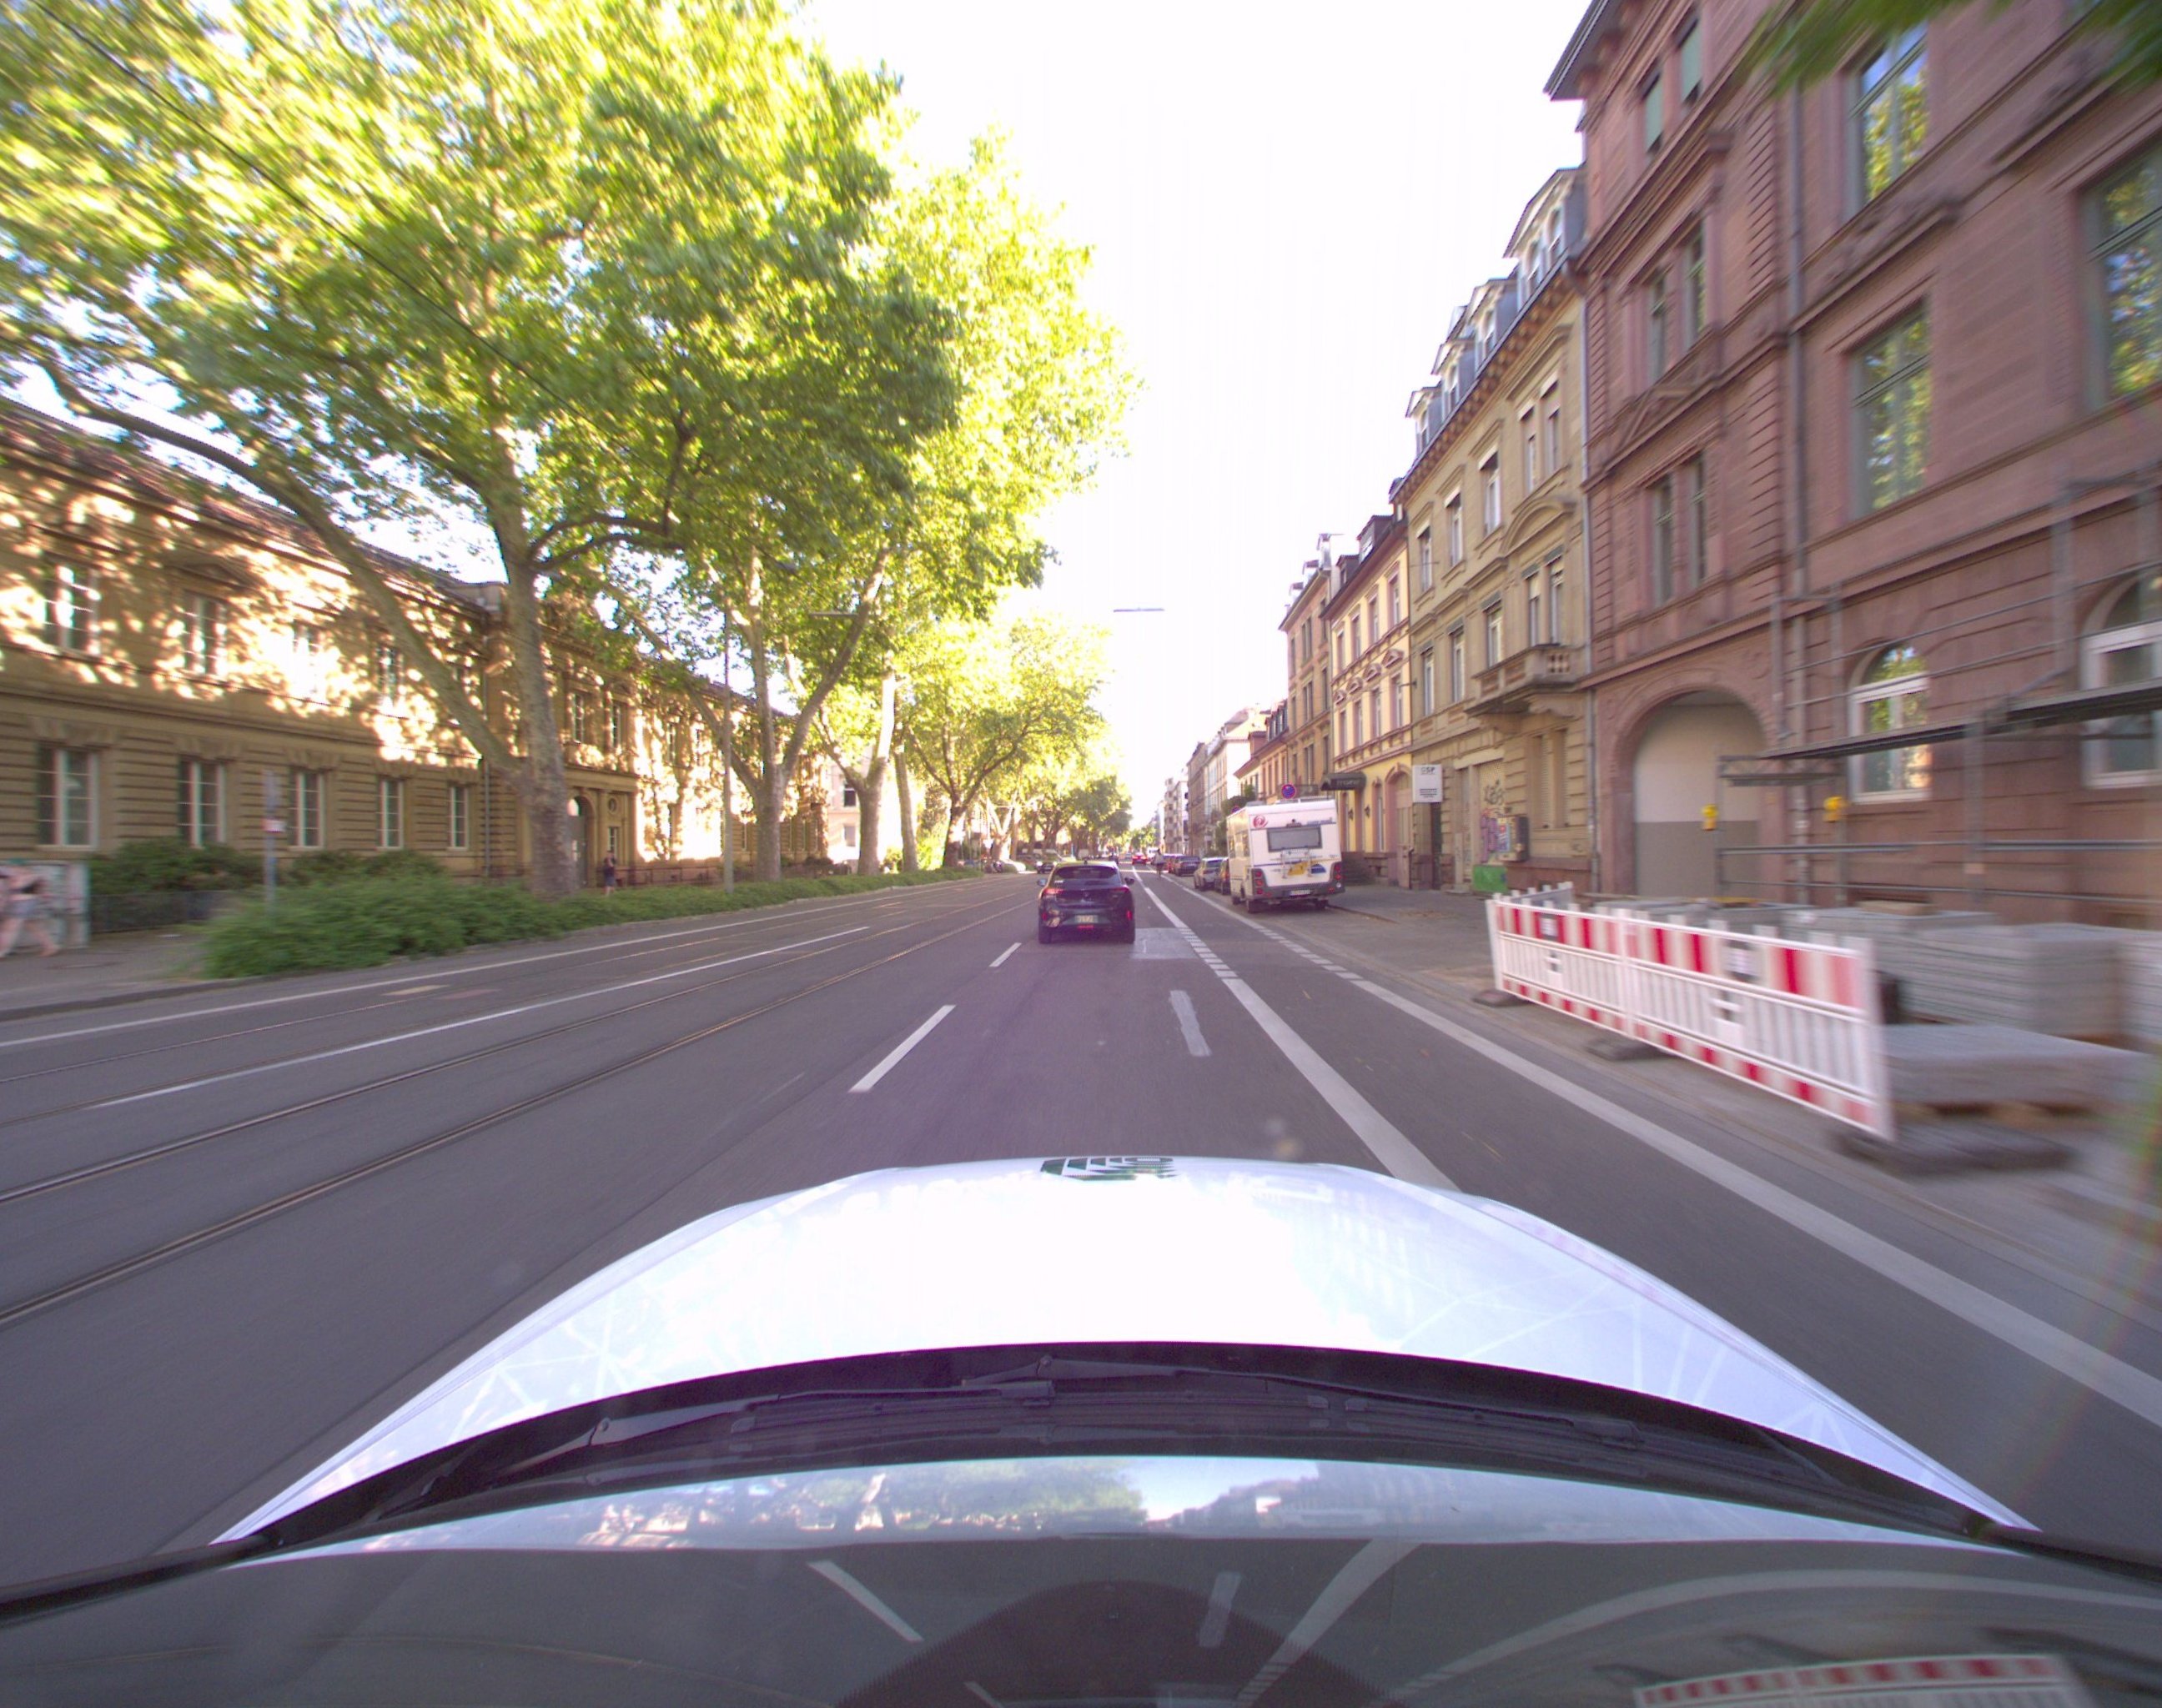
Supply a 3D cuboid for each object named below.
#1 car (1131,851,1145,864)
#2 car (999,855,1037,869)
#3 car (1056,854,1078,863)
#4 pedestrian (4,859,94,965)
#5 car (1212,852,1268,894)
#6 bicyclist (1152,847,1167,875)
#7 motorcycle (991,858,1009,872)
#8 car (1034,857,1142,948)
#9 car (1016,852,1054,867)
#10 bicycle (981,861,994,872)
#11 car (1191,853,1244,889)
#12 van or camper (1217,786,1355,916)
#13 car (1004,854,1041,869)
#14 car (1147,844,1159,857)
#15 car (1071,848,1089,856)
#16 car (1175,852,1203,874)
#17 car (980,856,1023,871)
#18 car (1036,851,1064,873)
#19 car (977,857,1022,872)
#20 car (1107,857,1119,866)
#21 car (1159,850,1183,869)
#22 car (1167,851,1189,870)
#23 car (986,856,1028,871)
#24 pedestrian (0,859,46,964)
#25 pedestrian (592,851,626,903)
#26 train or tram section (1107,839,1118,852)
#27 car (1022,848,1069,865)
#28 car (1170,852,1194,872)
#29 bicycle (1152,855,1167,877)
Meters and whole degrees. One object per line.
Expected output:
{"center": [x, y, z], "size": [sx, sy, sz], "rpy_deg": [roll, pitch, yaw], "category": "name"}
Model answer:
{"center": [7.946, 0.456, 112.935], "size": [1.801, 1.742, 3.938], "rpy_deg": [-1, 0, 5], "category": "car"}
{"center": [-6.944, 0.893, 90.132], "size": [3.903, 1.442, 1.750], "rpy_deg": [0, 0, 3], "category": "car"}
{"center": [-2.619, 0.846, 150.152], "size": [3.906, 1.498, 1.677], "rpy_deg": [0, 0, 0], "category": "car"}
{"center": [-17.142, 0.942, 13.540], "size": [0.632, 1.697, 0.655], "rpy_deg": [-1, 0, -4], "category": "pedestrian"}
{"center": [6.216, 0.696, 32.204], "size": [1.637, 1.434, 4.034], "rpy_deg": [-4, 0, 5], "category": "car"}
{"center": [4.993, 0.453, 51.939], "size": [0.844, 1.740, 1.162], "rpy_deg": [-1, 0, 2], "category": "bicyclist"}
{"center": [-6.982, 0.976, 70.469], "size": [0.878, 1.147, 2.398], "rpy_deg": [-1, 0, 11], "category": "motorcycle"}
{"center": [0.219, 0.812, 15.323], "size": [1.786, 1.441, 3.534], "rpy_deg": [-1, 1, 3], "category": "car"}
{"center": [-5.859, 0.705, 104.199], "size": [4.653, 1.924, 1.982], "rpy_deg": [0, 0, 4], "category": "car"}
{"center": [-8.099, 1.094, 70.405], "size": [0.537, 0.940, 2.040], "rpy_deg": [-1, 0, 11], "category": "bicycle"}
{"center": [6.133, 0.732, 37.064], "size": [1.802, 1.435, 4.669], "rpy_deg": [-2, 0, 3], "category": "car"}
{"center": [5.629, -0.072, 23.737], "size": [2.466, 2.972, 7.894], "rpy_deg": [-4, 0, 5], "category": "van or camper"}
{"center": [-6.583, 0.826, 92.391], "size": [3.978, 1.627, 1.881], "rpy_deg": [0, 0, 3], "category": "car"}
{"center": [12.935, -0.611, 146.260], "size": [2.066, 2.219, 4.940], "rpy_deg": [-4, 0, 5], "category": "car"}
{"center": [-0.150, -0.509, 180.609], "size": [3.906, 1.790, 1.677], "rpy_deg": [0, 0, 0], "category": "car"}
{"center": [7.447, 0.612, 56.352], "size": [1.686, 1.392, 4.500], "rpy_deg": [-2, 0, 5], "category": "car"}
{"center": [-7.694, 0.914, 78.901], "size": [3.905, 1.453, 1.801], "rpy_deg": [-1, 0, 3], "category": "car"}
{"center": [-2.531, 0.649, 67.754], "size": [1.859, 1.629, 4.564], "rpy_deg": [-1, 1, 3], "category": "car"}
{"center": [-7.631, 0.986, 76.230], "size": [3.902, 1.332, 1.849], "rpy_deg": [0, 0, 4], "category": "car"}
{"center": [4.859, 1.073, 123.959], "size": [1.803, 1.338, 3.934], "rpy_deg": [-1, 0, 1], "category": "car"}
{"center": [8.786, 0.533, 79.611], "size": [1.874, 1.586, 3.932], "rpy_deg": [-4, 0, 0], "category": "car"}
{"center": [8.120, 0.540, 68.150], "size": [1.627, 1.546, 3.580], "rpy_deg": [-2, 0, 5], "category": "car"}
{"center": [-7.424, 0.921, 81.652], "size": [3.903, 1.462, 1.807], "rpy_deg": [-1, 0, 3], "category": "car"}
{"center": [-17.814, 0.937, 13.407], "size": [0.670, 1.697, 0.661], "rpy_deg": [-1, 0, -4], "category": "pedestrian"}
{"center": [-16.896, 0.811, 29.149], "size": [0.716, 1.849, 0.837], "rpy_deg": [-1, 0, 0], "category": "pedestrian"}
{"center": [9.405, -2.402, 240.310], "size": [2.722, 3.681, 12.732], "rpy_deg": [-2, 0, 5], "category": "train or tram section"}
{"center": [-5.140, 0.345, 119.309], "size": [6.599, 2.409, 2.460], "rpy_deg": [0, 0, 3], "category": "car"}
{"center": [7.873, 0.637, 63.630], "size": [1.643, 1.456, 3.872], "rpy_deg": [-2, 0, 4], "category": "car"}
{"center": [4.986, 0.744, 51.888], "size": [0.857, 1.407, 2.525], "rpy_deg": [-1, 0, 2], "category": "bicycle"}
